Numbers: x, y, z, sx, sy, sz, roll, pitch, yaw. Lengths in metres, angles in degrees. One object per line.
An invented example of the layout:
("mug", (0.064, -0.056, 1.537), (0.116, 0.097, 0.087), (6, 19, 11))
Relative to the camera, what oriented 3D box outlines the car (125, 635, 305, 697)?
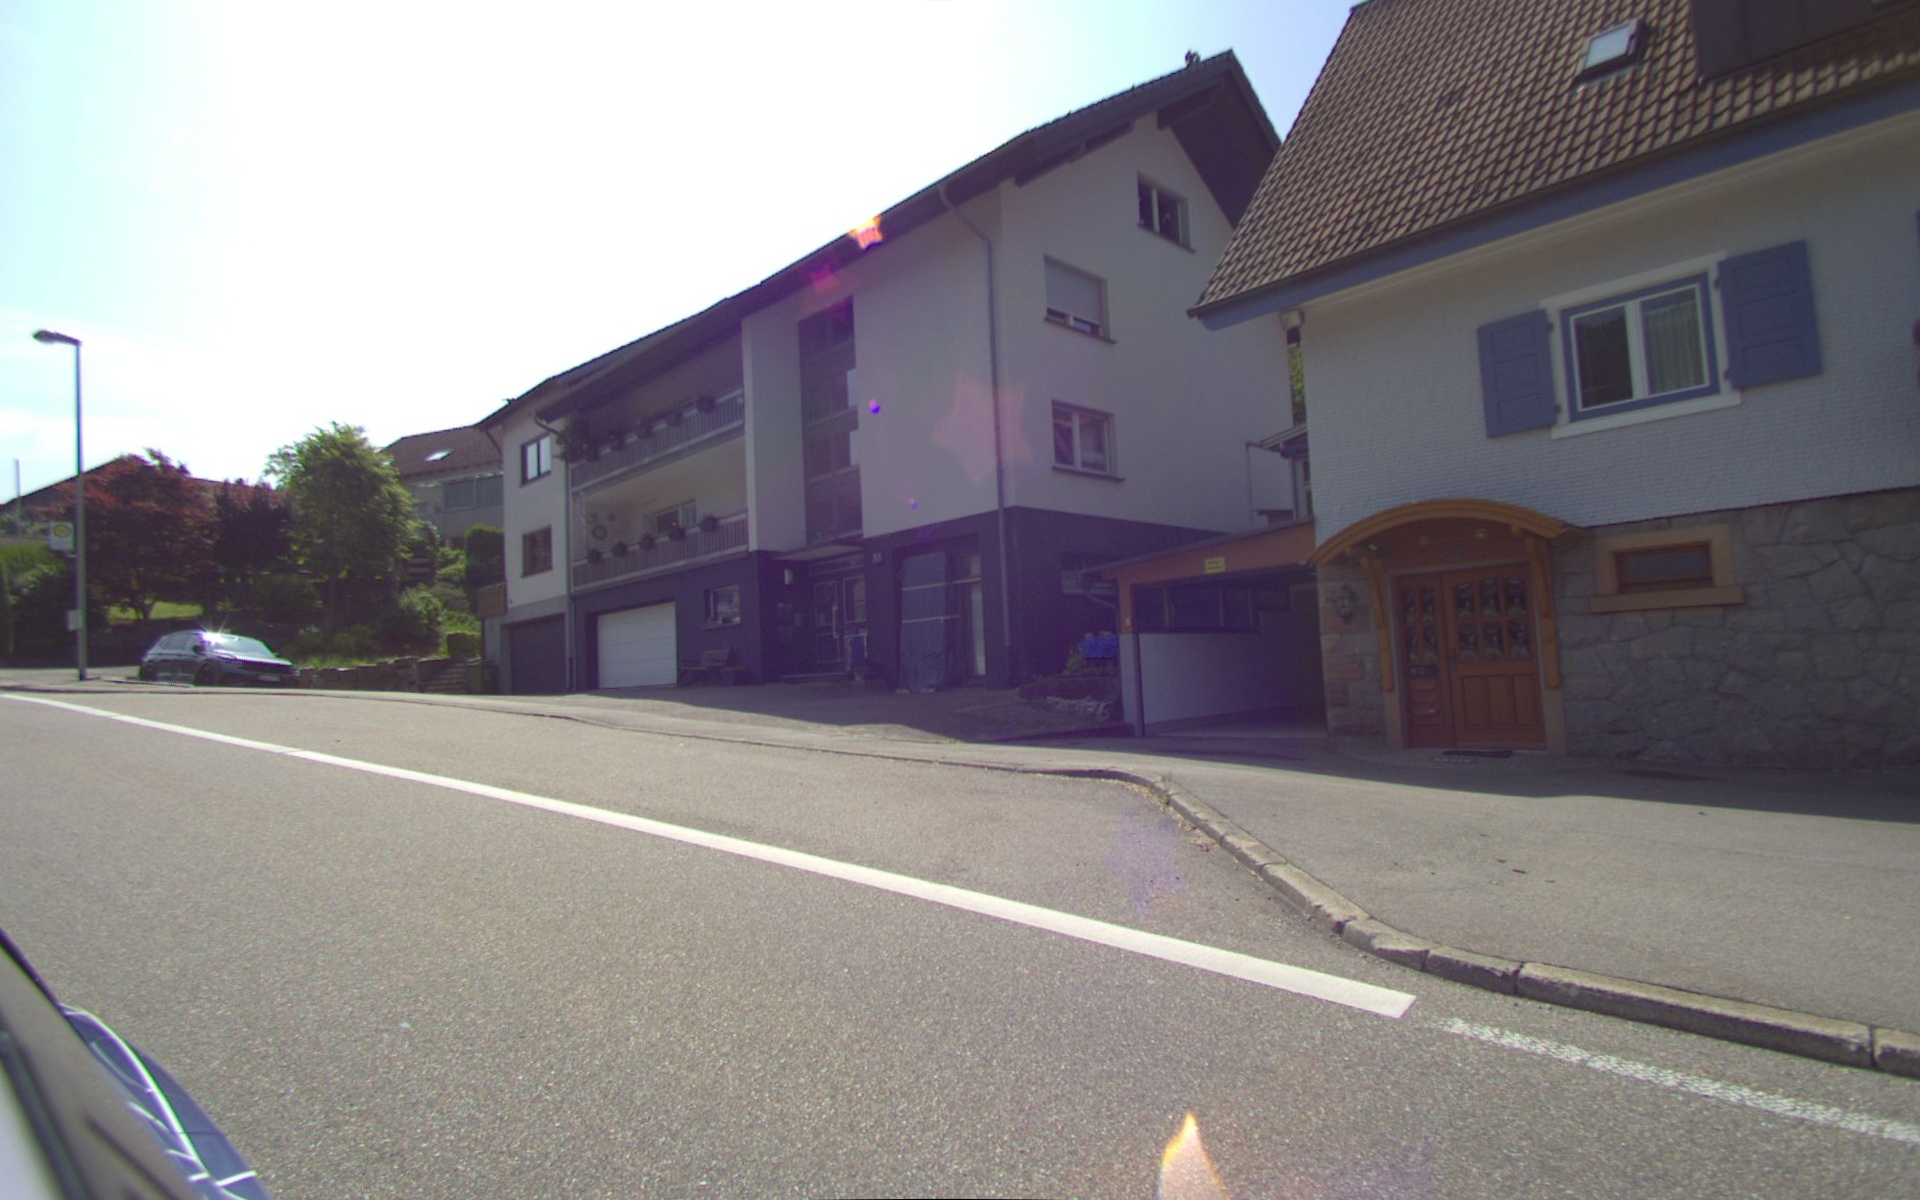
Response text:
("car", (-17.746, 1.512, 24.059), (4.678, 1.349, 1.769), (-1, -3, 31))
